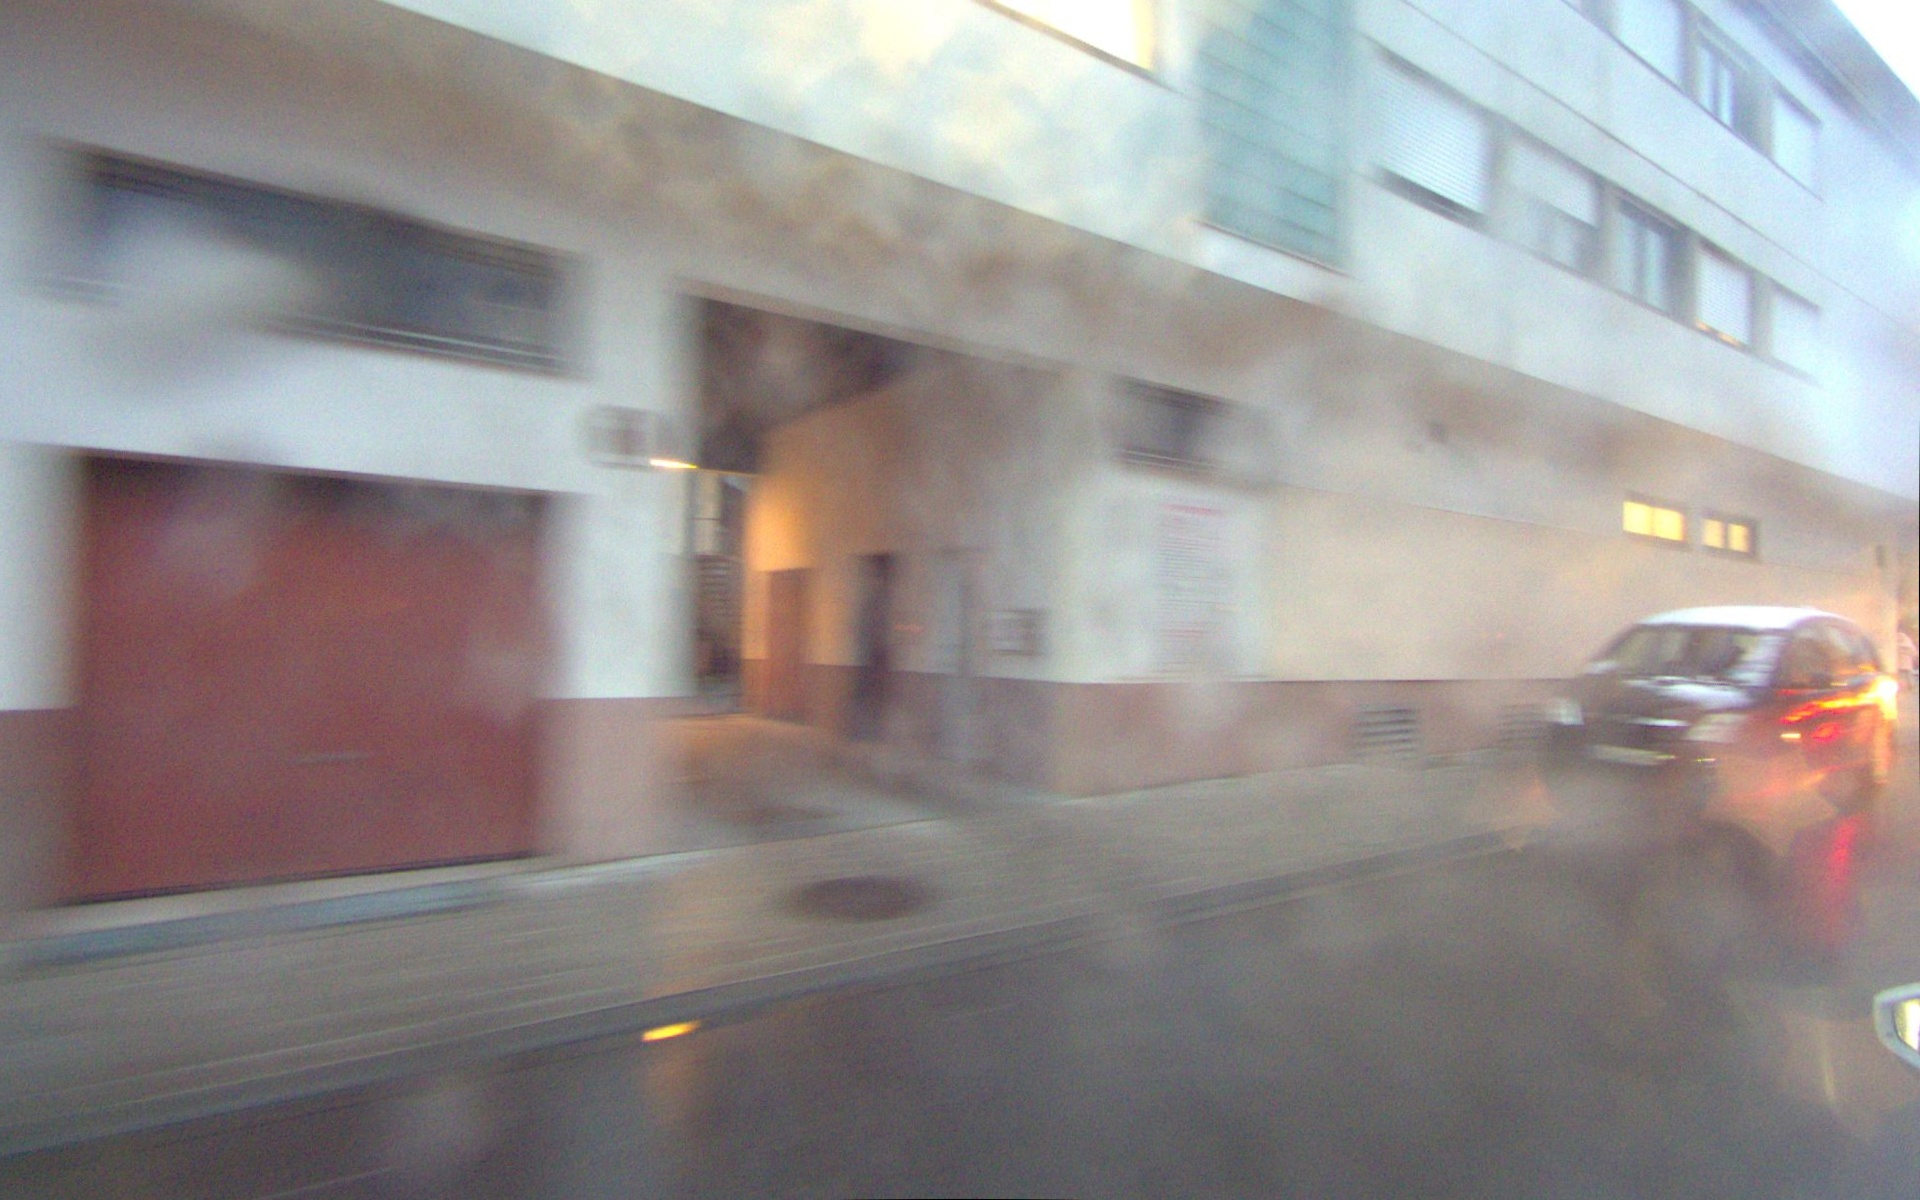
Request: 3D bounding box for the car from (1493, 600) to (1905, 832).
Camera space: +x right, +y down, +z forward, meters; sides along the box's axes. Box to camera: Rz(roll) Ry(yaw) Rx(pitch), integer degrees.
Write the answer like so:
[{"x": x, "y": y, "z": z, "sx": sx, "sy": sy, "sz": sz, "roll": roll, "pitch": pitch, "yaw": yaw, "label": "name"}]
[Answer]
[{"x": 6.740, "y": 0.874, "z": 9.081, "sx": 3.771, "sy": 1.664, "sz": 1.784, "roll": 1, "pitch": 0, "yaw": -33, "label": "car"}]
